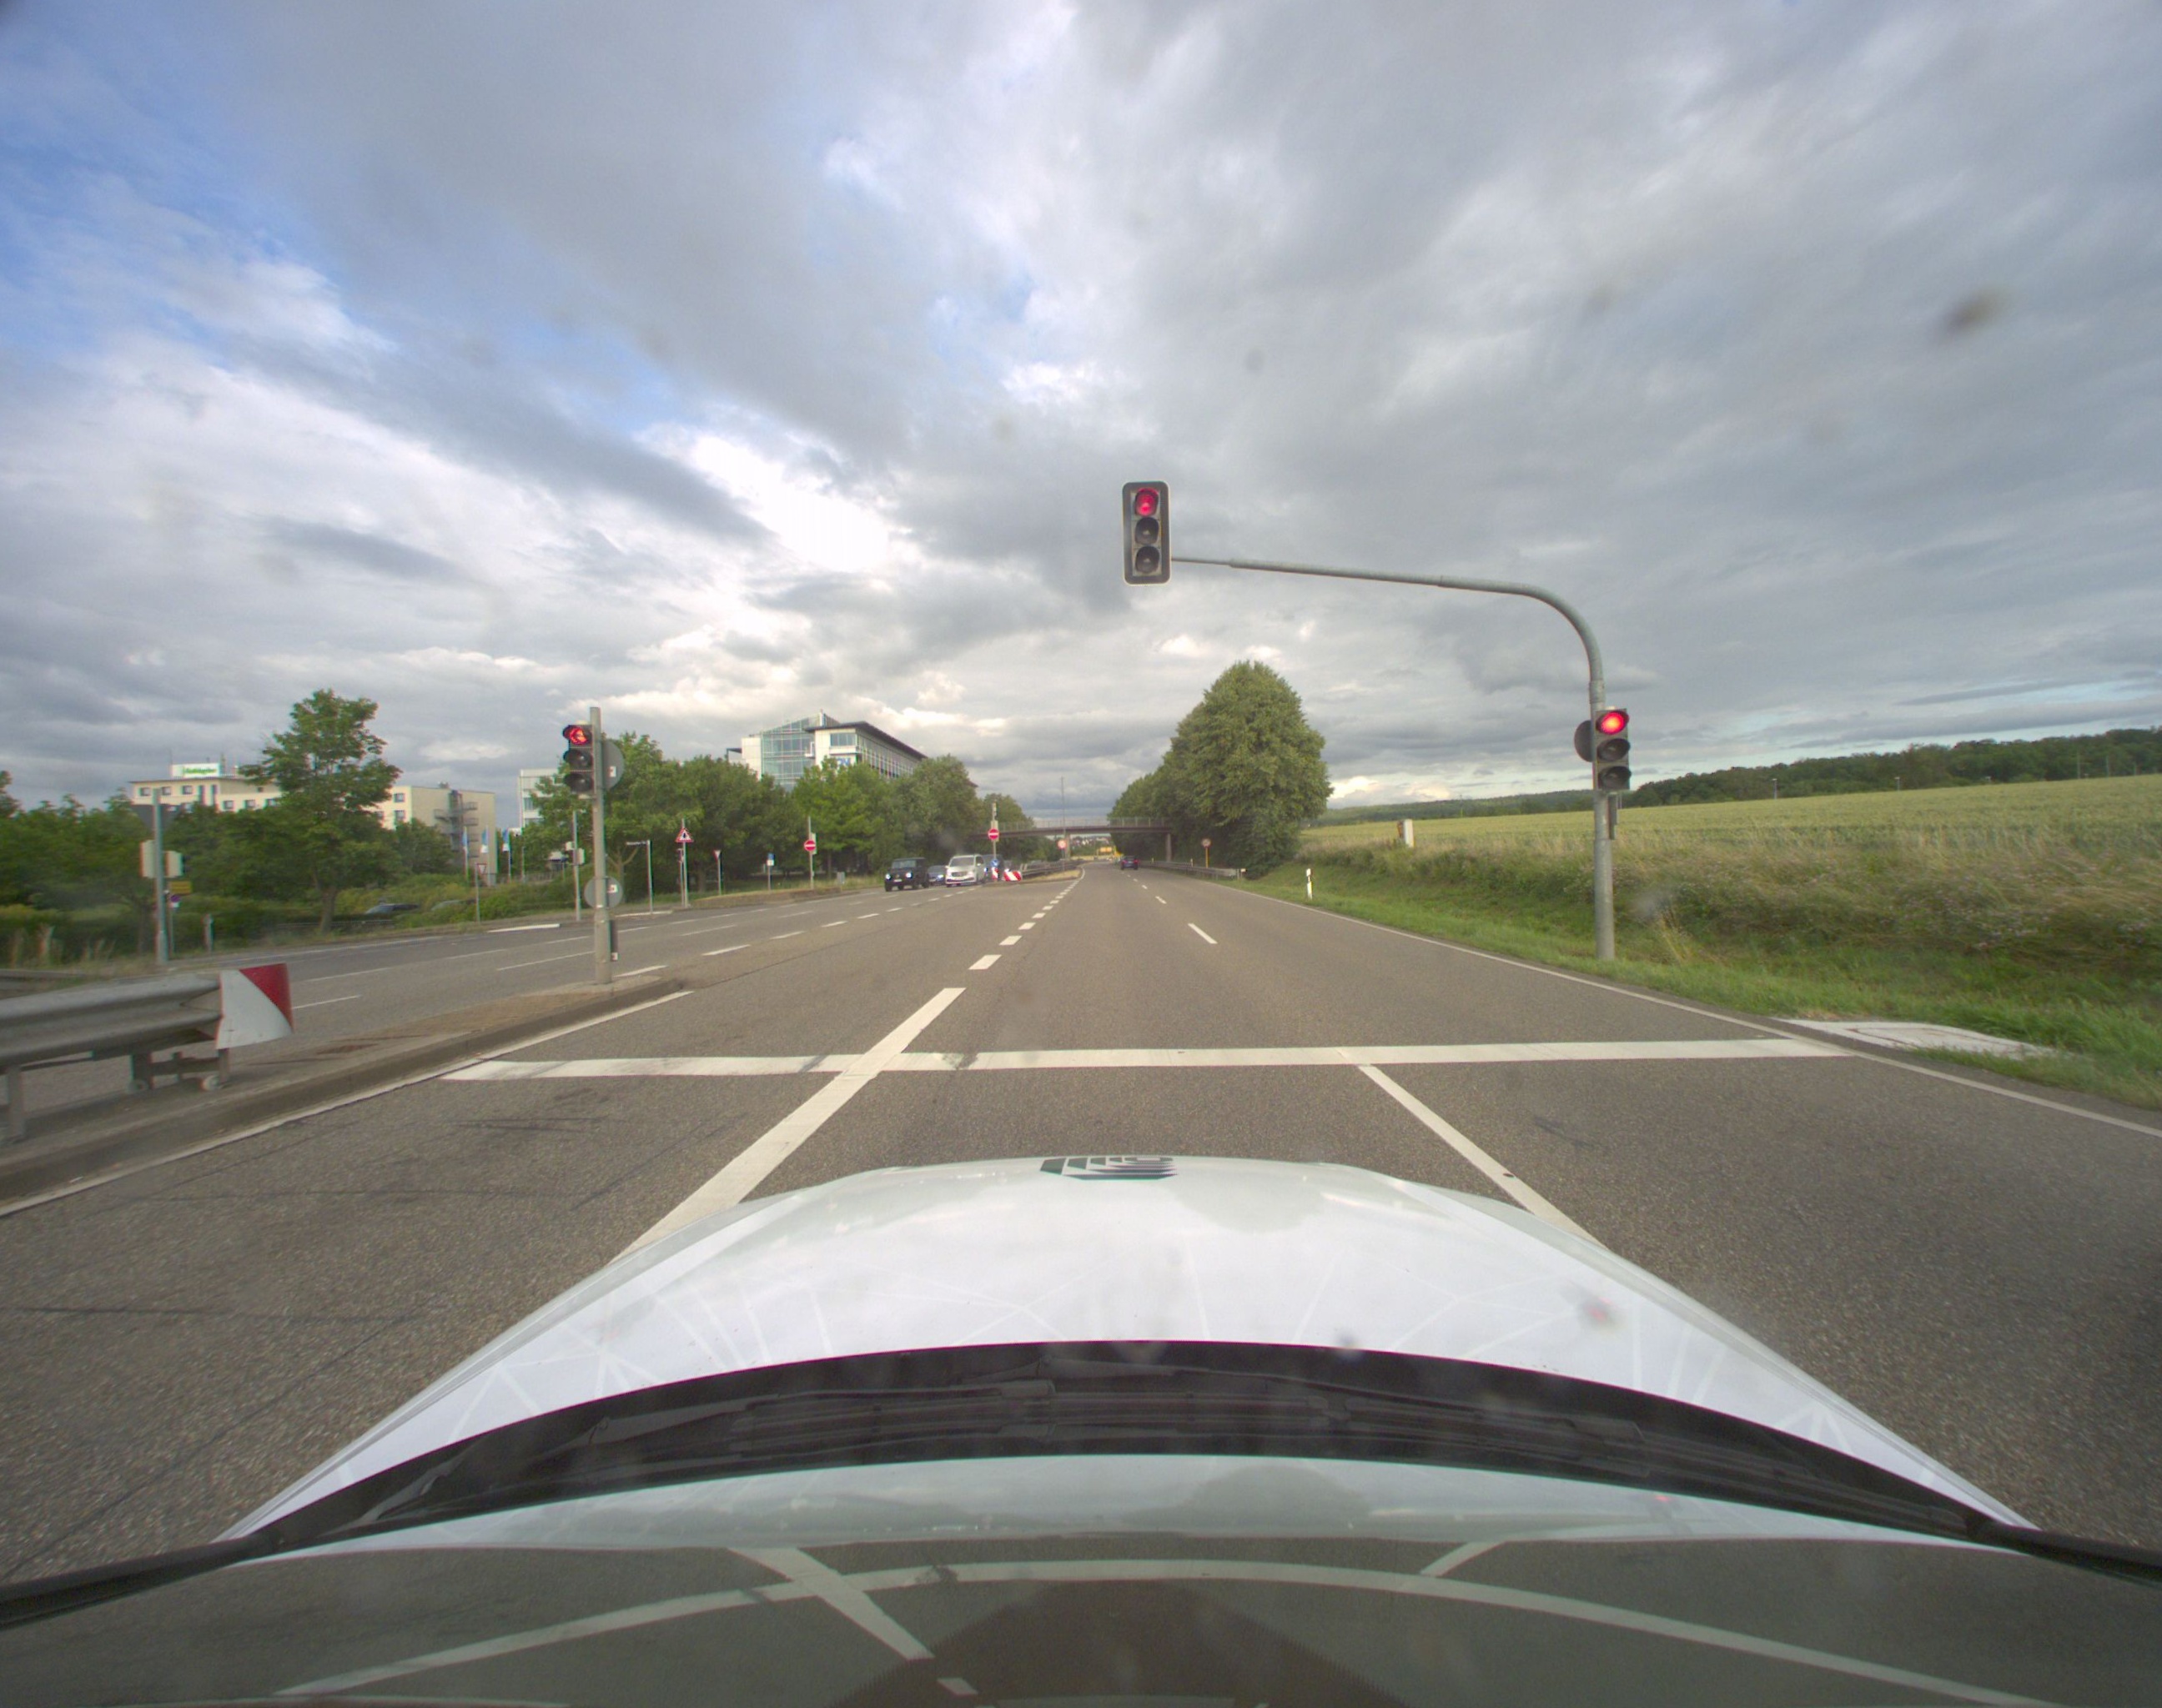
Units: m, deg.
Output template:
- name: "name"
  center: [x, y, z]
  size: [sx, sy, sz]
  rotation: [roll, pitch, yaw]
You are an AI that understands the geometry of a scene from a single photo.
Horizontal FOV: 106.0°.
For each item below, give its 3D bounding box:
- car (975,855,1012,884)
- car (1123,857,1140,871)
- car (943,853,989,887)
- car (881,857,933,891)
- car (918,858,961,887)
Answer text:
- name: "car"
  center: [-6.227, 1.109, 58.596]
  size: [2.076, 2.014, 5.216]
  rotation: [0, -1, 0]
- name: "car"
  center: [5.670, 1.163, 92.592]
  size: [1.872, 1.552, 4.002]
  rotation: [0, -1, 3]
- name: "car"
  center: [-7.133, 0.997, 50.876]
  size: [2.076, 2.014, 5.216]
  rotation: [0, -1, 0]
- name: "car"
  center: [-10.753, 1.223, 50.845]
  size: [2.076, 2.014, 5.216]
  rotation: [0, -1, 0]
- name: "car"
  center: [-10.068, 1.290, 58.334]
  size: [2.076, 2.014, 5.216]
  rotation: [0, -1, 0]
